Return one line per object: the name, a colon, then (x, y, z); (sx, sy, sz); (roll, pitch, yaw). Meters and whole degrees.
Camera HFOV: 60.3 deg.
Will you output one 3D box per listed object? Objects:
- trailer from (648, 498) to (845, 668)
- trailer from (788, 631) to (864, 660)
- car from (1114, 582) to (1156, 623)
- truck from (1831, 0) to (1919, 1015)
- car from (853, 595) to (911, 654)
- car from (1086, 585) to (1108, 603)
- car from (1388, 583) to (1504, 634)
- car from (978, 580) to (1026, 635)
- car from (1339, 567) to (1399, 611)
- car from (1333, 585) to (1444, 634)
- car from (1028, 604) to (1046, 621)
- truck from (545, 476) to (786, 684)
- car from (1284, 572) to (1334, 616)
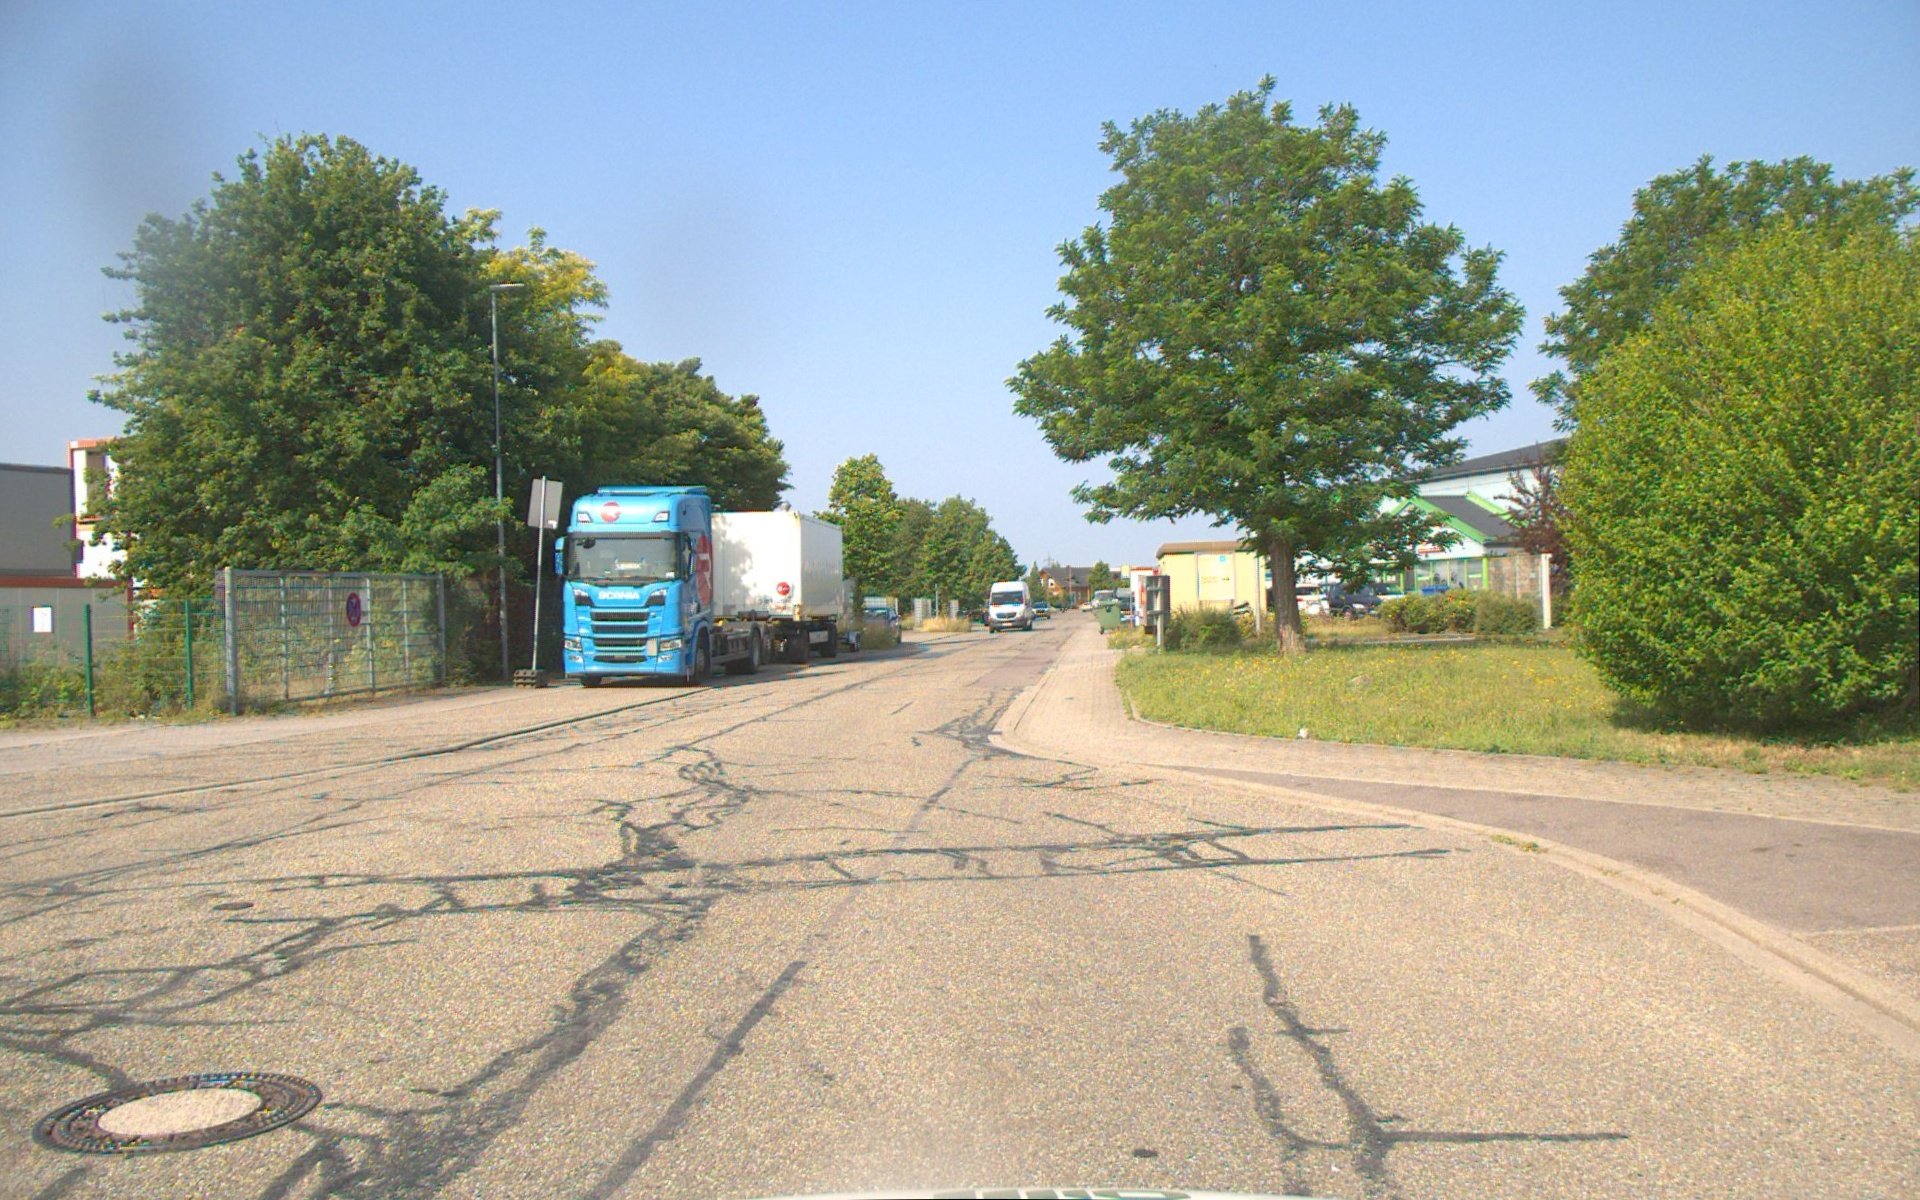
trailer: (-5.339, -0.300, 44.112); (2.771, 3.910, 12.042); (0, -1, 5)
trailer: (-4.302, 1.454, 53.710); (1.857, 0.774, 4.002); (-2, 0, 4)
car: (7.919, 0.146, 75.224); (1.754, 1.780, 4.002); (0, -1, 4)
truck: (4.384, -0.669, 3.776); (2.688, 4.050, 4.002); (-5, 0, 5)
car: (-2.926, 0.888, 61.580); (1.955, 2.049, 3.996); (-2, 0, -5)
car: (14.626, -0.662, 176.942); (1.736, 1.847, 3.996); (0, -1, -5)
car: (13.931, 0.256, 47.594); (1.717, 1.397, 3.653); (0, -1, -11)
car: (2.160, 0.432, 86.959); (2.169, 2.733, 6.851); (0, -1, -1)
car: (16.173, -0.411, 65.599); (1.754, 1.669, 4.002); (0, -1, 6)
car: (12.152, 0.295, 47.105); (1.638, 1.353, 3.653); (0, -1, -11)
car: (7.681, 1.253, 165.434); (1.606, 1.691, 3.999); (0, -1, -1)
truck: (-6.024, -0.291, 35.830); (2.766, 3.893, 9.677); (0, -1, 5)
car: (13.893, -0.213, 66.025); (1.681, 1.646, 4.003); (0, -1, 8)
